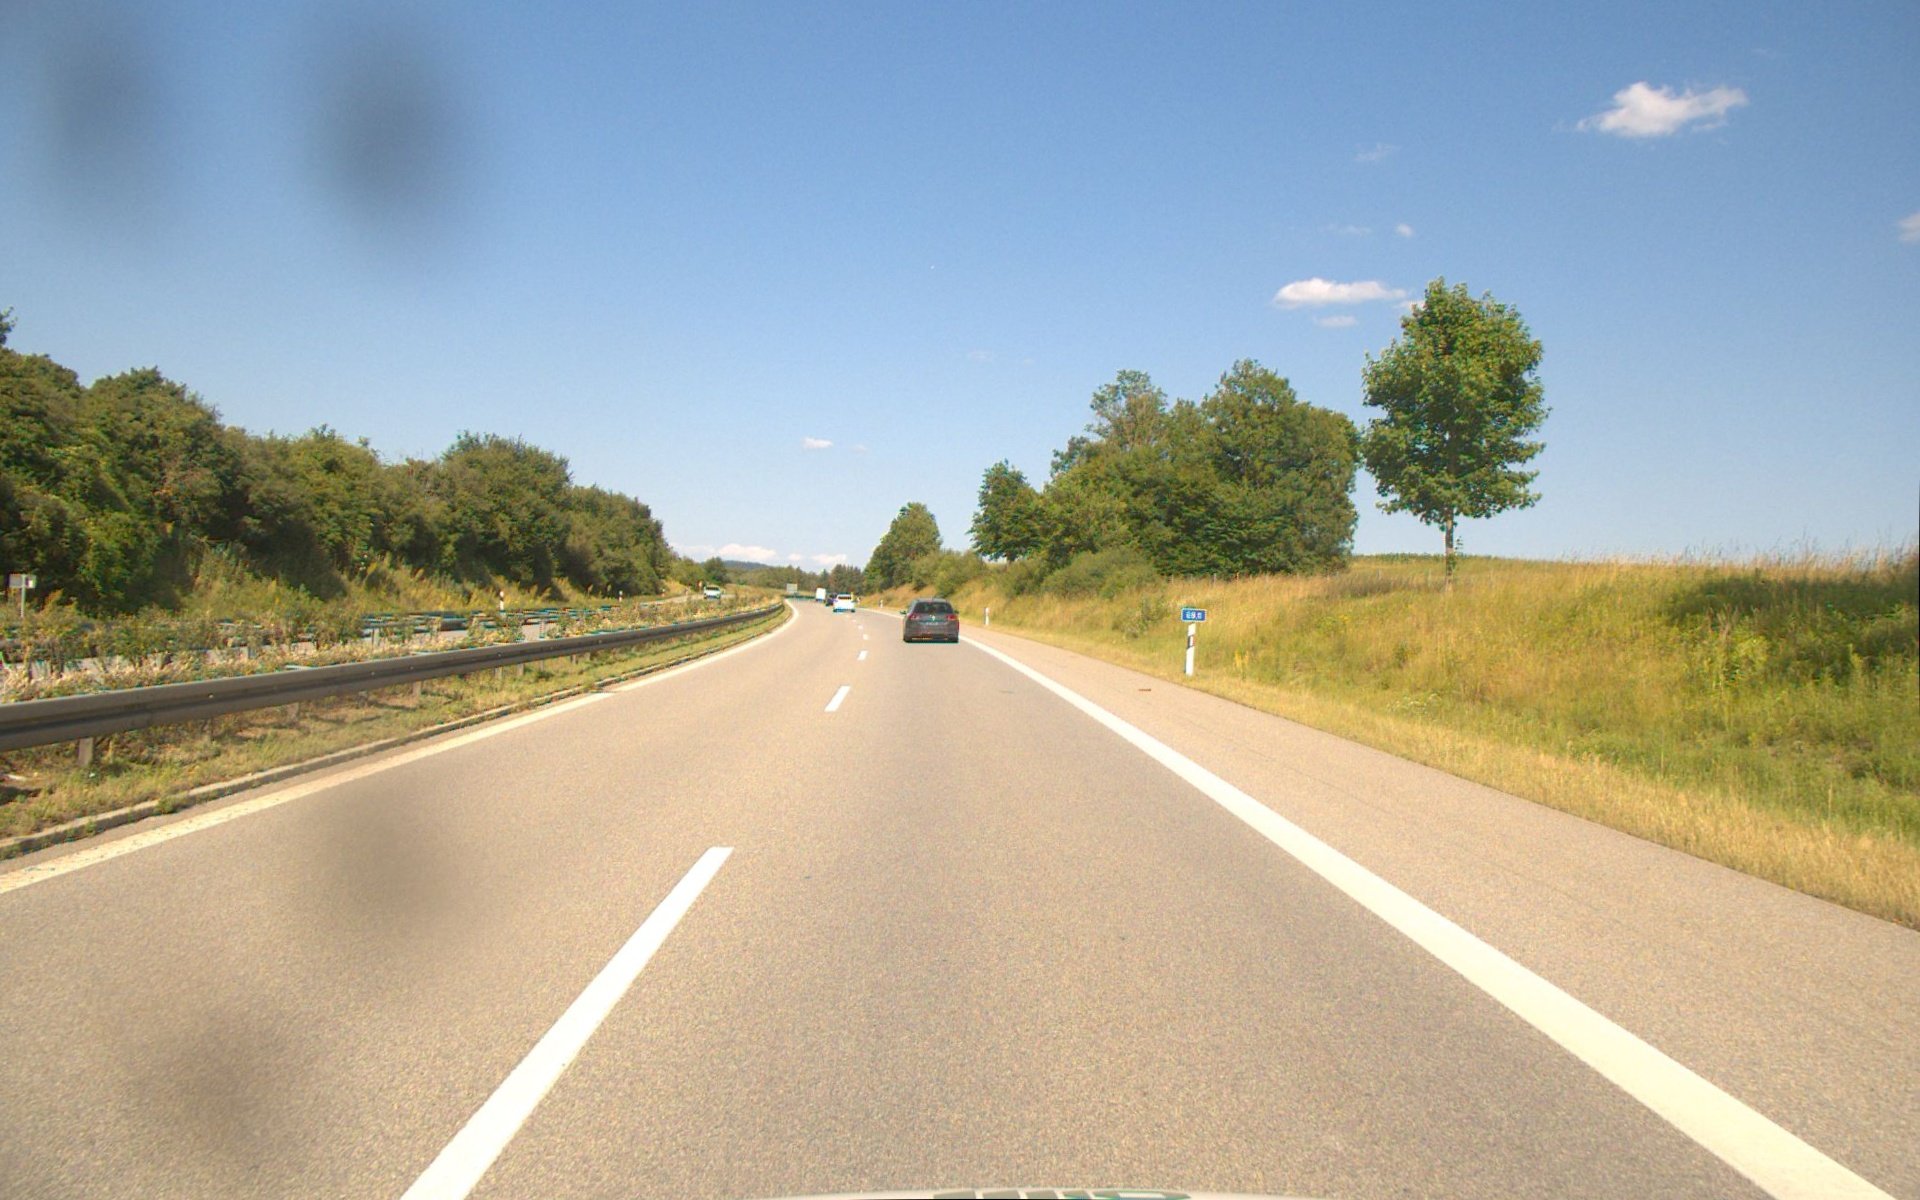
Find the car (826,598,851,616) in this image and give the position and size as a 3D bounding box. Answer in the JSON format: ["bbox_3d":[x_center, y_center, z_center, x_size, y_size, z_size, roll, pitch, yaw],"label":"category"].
[{"bbox_3d":[-10.063,0.556,136.915,1.967,1.368,3.997,2,-1,-4],"label":"car"}]

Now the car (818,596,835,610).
[{"bbox_3d":[-15.313,0.383,190.072,1.677,1.411,3.353,6,-2,-3],"label":"car"}]

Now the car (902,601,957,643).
[{"bbox_3d":[-1.058,0.714,55.367,1.755,1.368,3.998,0,0,-3],"label":"car"}]

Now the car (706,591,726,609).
[{"bbox_3d":[-28.537,0.013,193.628,1.954,2.049,4.850,1,0,-5],"label":"car"}]
